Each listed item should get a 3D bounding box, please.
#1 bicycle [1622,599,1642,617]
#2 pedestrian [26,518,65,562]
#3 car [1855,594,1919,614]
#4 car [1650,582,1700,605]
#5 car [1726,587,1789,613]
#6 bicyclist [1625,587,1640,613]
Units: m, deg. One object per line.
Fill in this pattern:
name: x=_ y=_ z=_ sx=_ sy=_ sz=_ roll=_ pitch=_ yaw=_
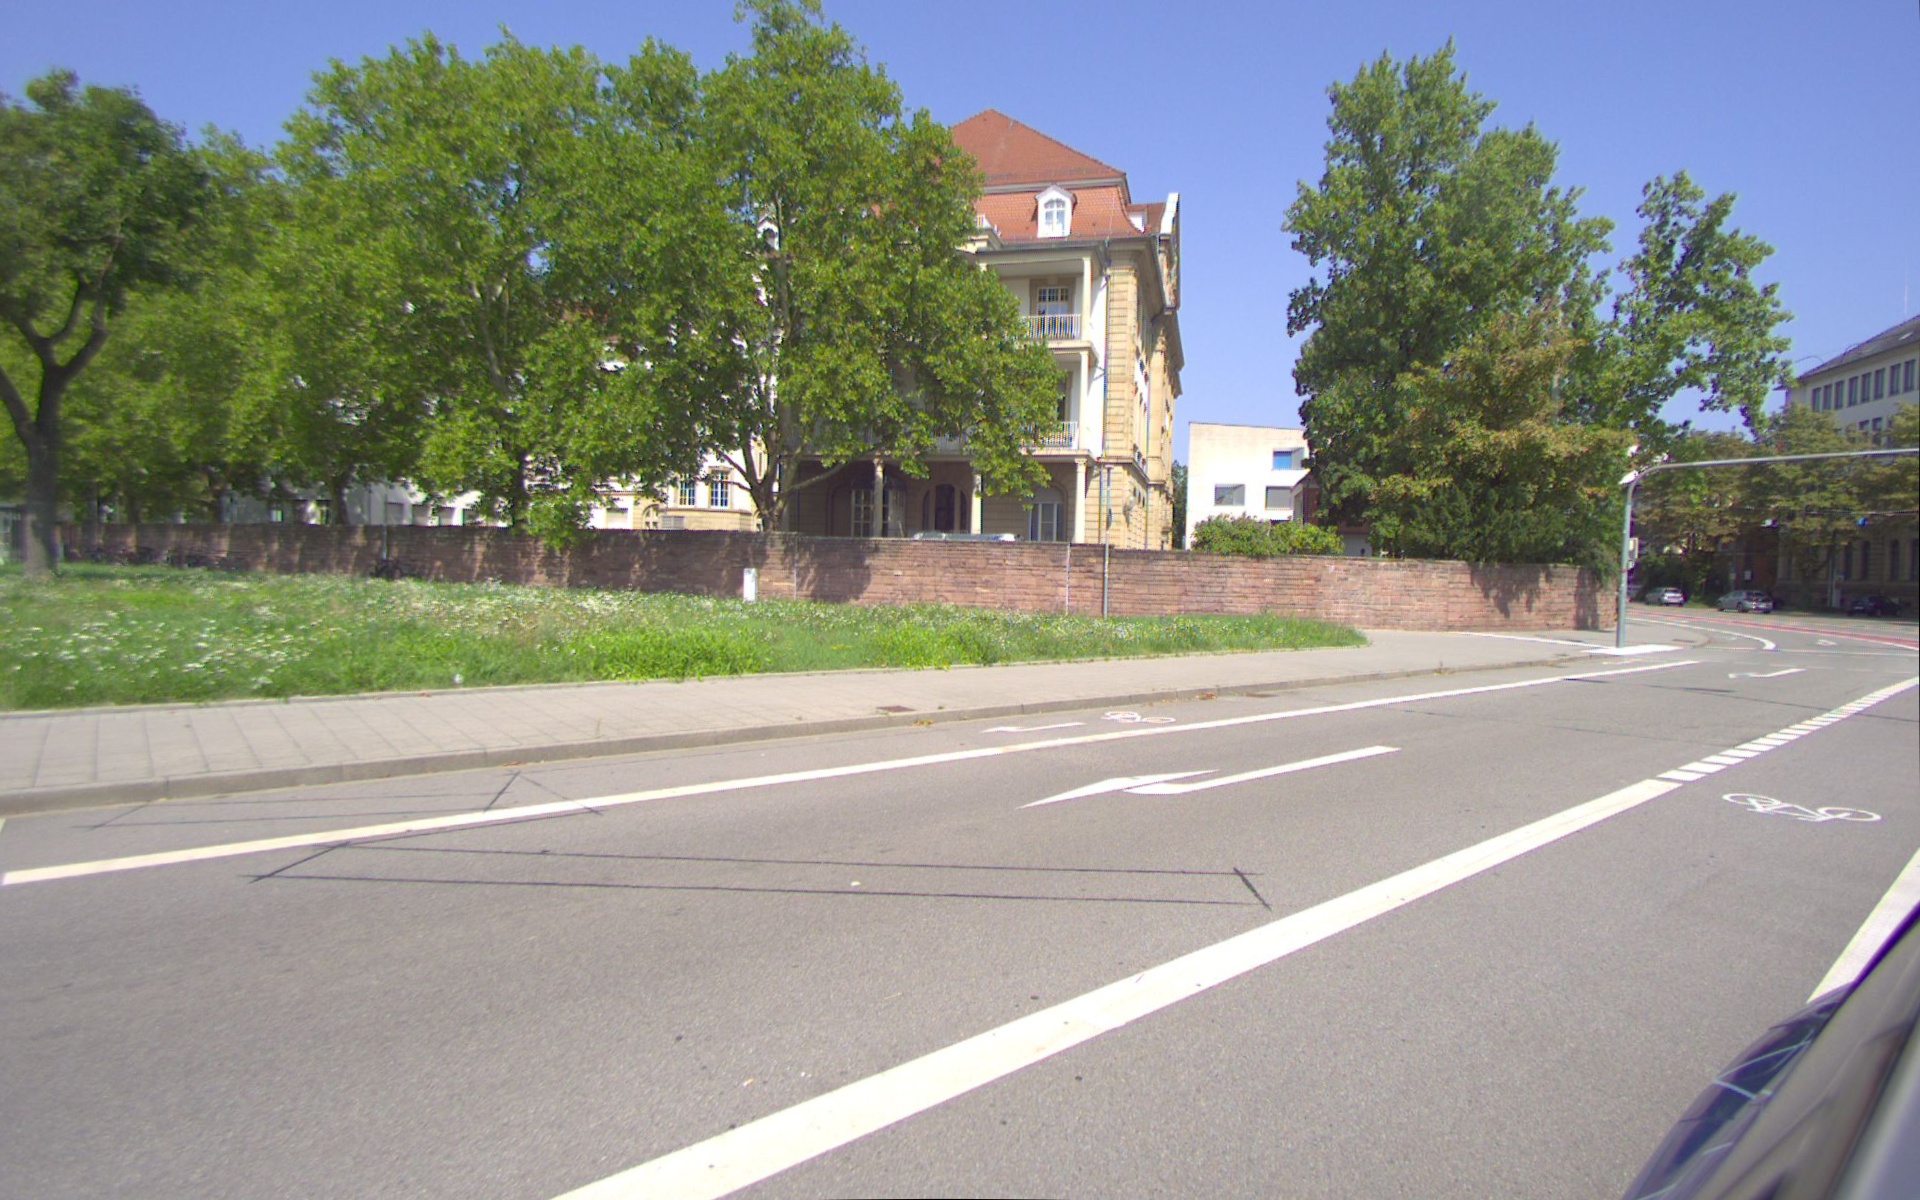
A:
bicycle: x=32.342 y=0.376 z=48.707 sx=1.461 sy=0.822 sz=0.436 roll=0 pitch=3 yaw=-43
pedestrian: x=-43.682 y=-2.881 z=48.330 sx=1.225 sy=2.038 sz=1.061 roll=3 pitch=2 yaw=30
car: x=62.630 y=0.243 z=68.299 sx=3.010 sy=1.190 sz=1.248 roll=2 pitch=2 yaw=11
car: x=58.070 y=-0.566 z=82.234 sx=1.972 sy=1.690 sz=3.981 roll=3 pitch=2 yaw=15
car: x=54.478 y=-0.036 z=69.205 sx=1.860 sy=1.615 sz=3.983 roll=3 pitch=2 yaw=14
bicyclist: x=32.360 y=-0.012 z=48.700 sx=0.531 sy=1.248 sz=0.432 roll=0 pitch=2 yaw=-43
